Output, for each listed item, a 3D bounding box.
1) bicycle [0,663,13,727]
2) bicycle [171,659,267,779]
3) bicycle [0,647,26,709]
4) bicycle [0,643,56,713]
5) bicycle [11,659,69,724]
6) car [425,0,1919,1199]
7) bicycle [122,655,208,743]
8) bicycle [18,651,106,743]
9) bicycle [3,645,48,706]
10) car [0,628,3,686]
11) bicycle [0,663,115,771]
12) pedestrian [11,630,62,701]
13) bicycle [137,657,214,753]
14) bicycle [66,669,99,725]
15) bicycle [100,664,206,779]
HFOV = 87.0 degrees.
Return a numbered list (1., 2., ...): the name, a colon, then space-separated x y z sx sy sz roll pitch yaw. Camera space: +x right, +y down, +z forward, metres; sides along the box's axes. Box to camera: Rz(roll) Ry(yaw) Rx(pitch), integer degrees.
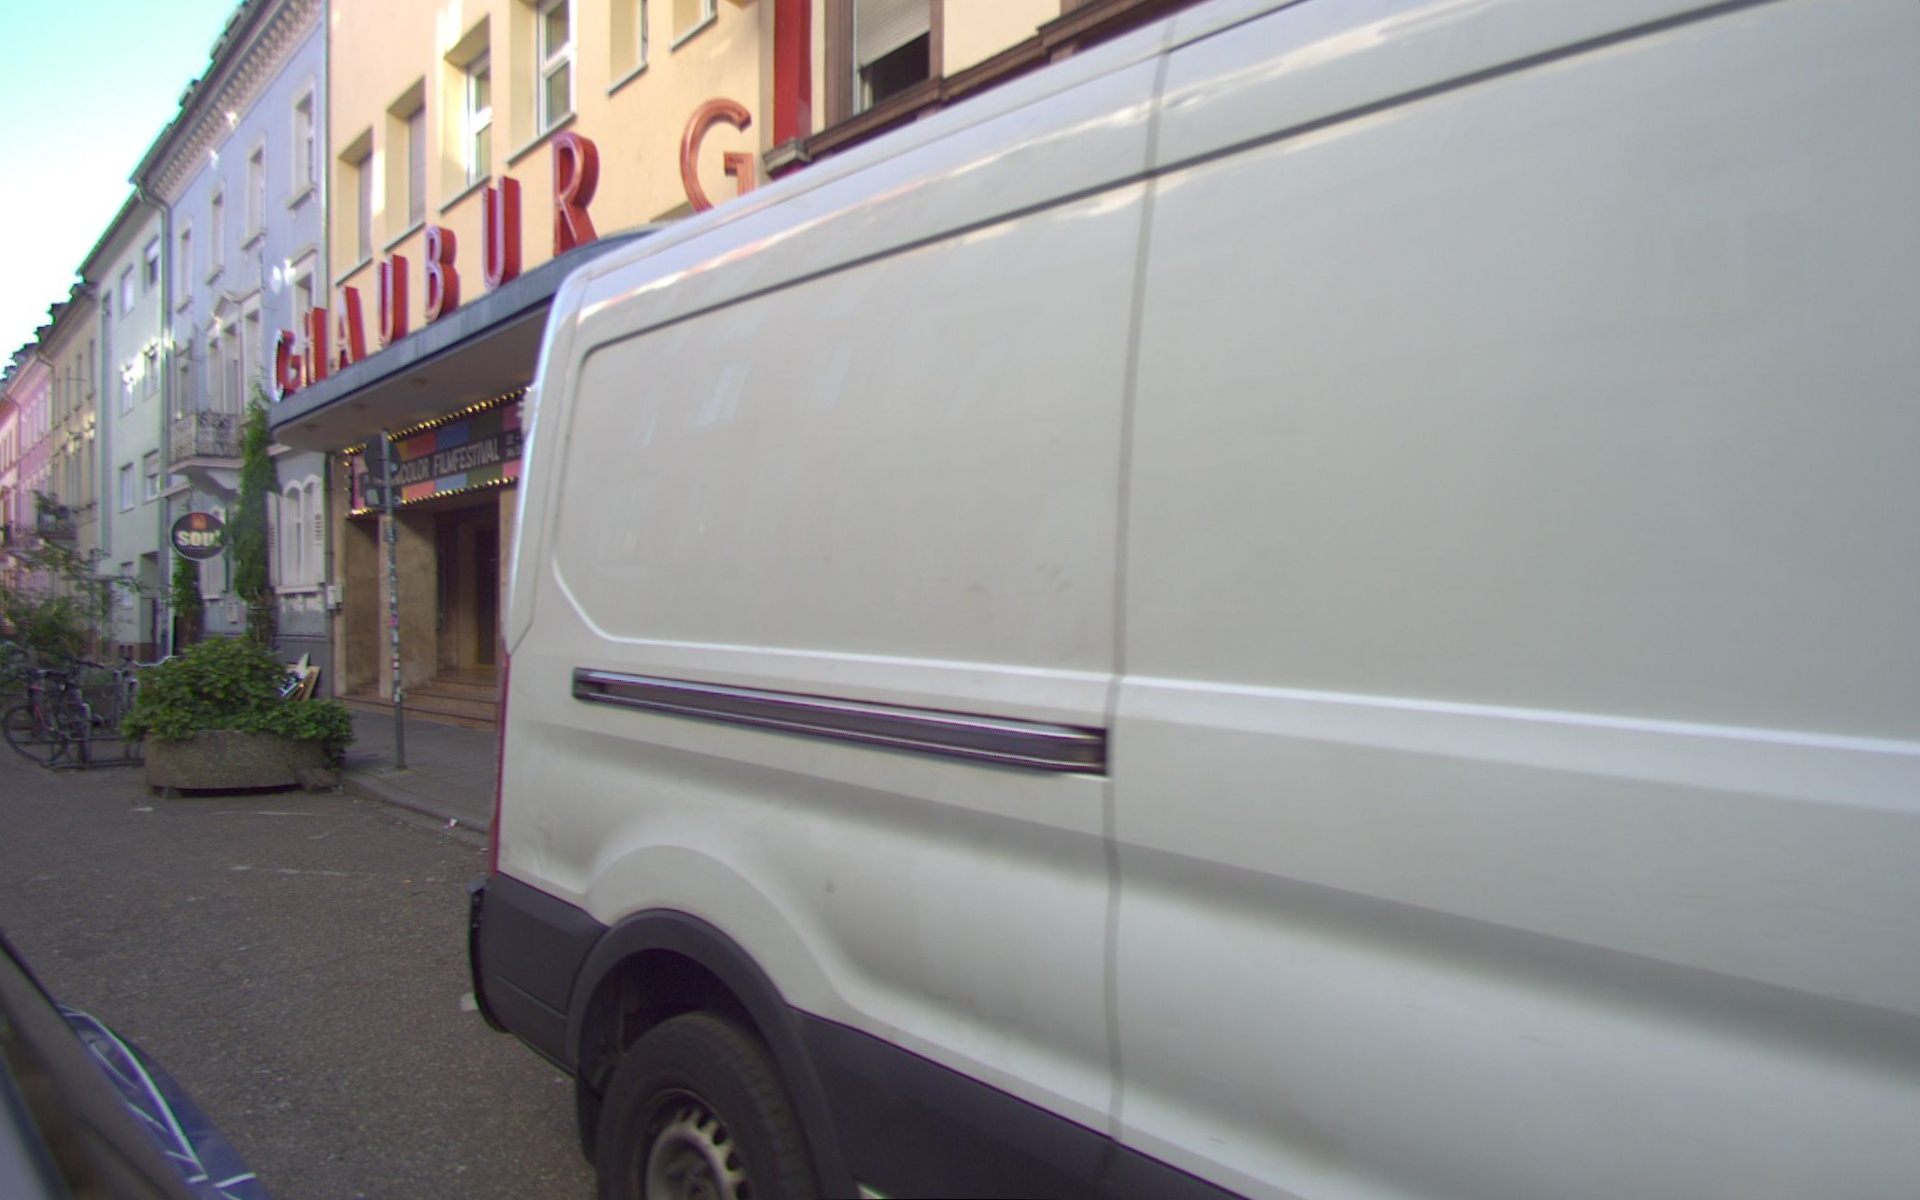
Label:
1. bicycle: -14.992 1.460 15.648 1.392 0.923 0.386 -2 -2 43
2. bicycle: -8.117 1.259 11.062 1.667 1.182 0.395 -2 0 38
3. bicycle: -18.260 1.470 19.318 1.931 1.114 0.438 -2 -1 42
4. bicycle: -16.958 1.390 18.283 0.919 1.184 0.804 -2 -1 39
5. bicycle: -14.855 1.452 16.334 1.571 0.951 0.548 -2 -2 43
6. car: 1.596 0.245 1.490 5.917 2.471 2.146 -1 -3 41
7. bicycle: -10.448 1.267 13.289 1.407 1.053 0.568 -1 -1 38
8. bicycle: -12.025 1.263 13.532 1.879 1.102 0.541 -2 0 38
9. bicycle: -18.358 1.455 19.873 1.873 1.114 0.439 -2 -1 41
10. car: -26.430 1.465 26.650 1.661 1.466 4.036 3 -3 -45
11. bicycle: -9.740 1.217 10.786 1.740 1.055 0.458 -1 0 26
12. pedestrian: -23.142 1.617 25.375 0.703 1.720 0.674 -1 0 -16
13. bicycle: -9.388 1.229 12.096 1.317 1.055 0.413 -2 0 38
14. bicycle: -14.143 1.547 16.303 1.299 0.824 0.253 -2 -1 43
15. bicycle: -8.479 1.232 10.607 1.862 1.055 0.438 -1 0 38
